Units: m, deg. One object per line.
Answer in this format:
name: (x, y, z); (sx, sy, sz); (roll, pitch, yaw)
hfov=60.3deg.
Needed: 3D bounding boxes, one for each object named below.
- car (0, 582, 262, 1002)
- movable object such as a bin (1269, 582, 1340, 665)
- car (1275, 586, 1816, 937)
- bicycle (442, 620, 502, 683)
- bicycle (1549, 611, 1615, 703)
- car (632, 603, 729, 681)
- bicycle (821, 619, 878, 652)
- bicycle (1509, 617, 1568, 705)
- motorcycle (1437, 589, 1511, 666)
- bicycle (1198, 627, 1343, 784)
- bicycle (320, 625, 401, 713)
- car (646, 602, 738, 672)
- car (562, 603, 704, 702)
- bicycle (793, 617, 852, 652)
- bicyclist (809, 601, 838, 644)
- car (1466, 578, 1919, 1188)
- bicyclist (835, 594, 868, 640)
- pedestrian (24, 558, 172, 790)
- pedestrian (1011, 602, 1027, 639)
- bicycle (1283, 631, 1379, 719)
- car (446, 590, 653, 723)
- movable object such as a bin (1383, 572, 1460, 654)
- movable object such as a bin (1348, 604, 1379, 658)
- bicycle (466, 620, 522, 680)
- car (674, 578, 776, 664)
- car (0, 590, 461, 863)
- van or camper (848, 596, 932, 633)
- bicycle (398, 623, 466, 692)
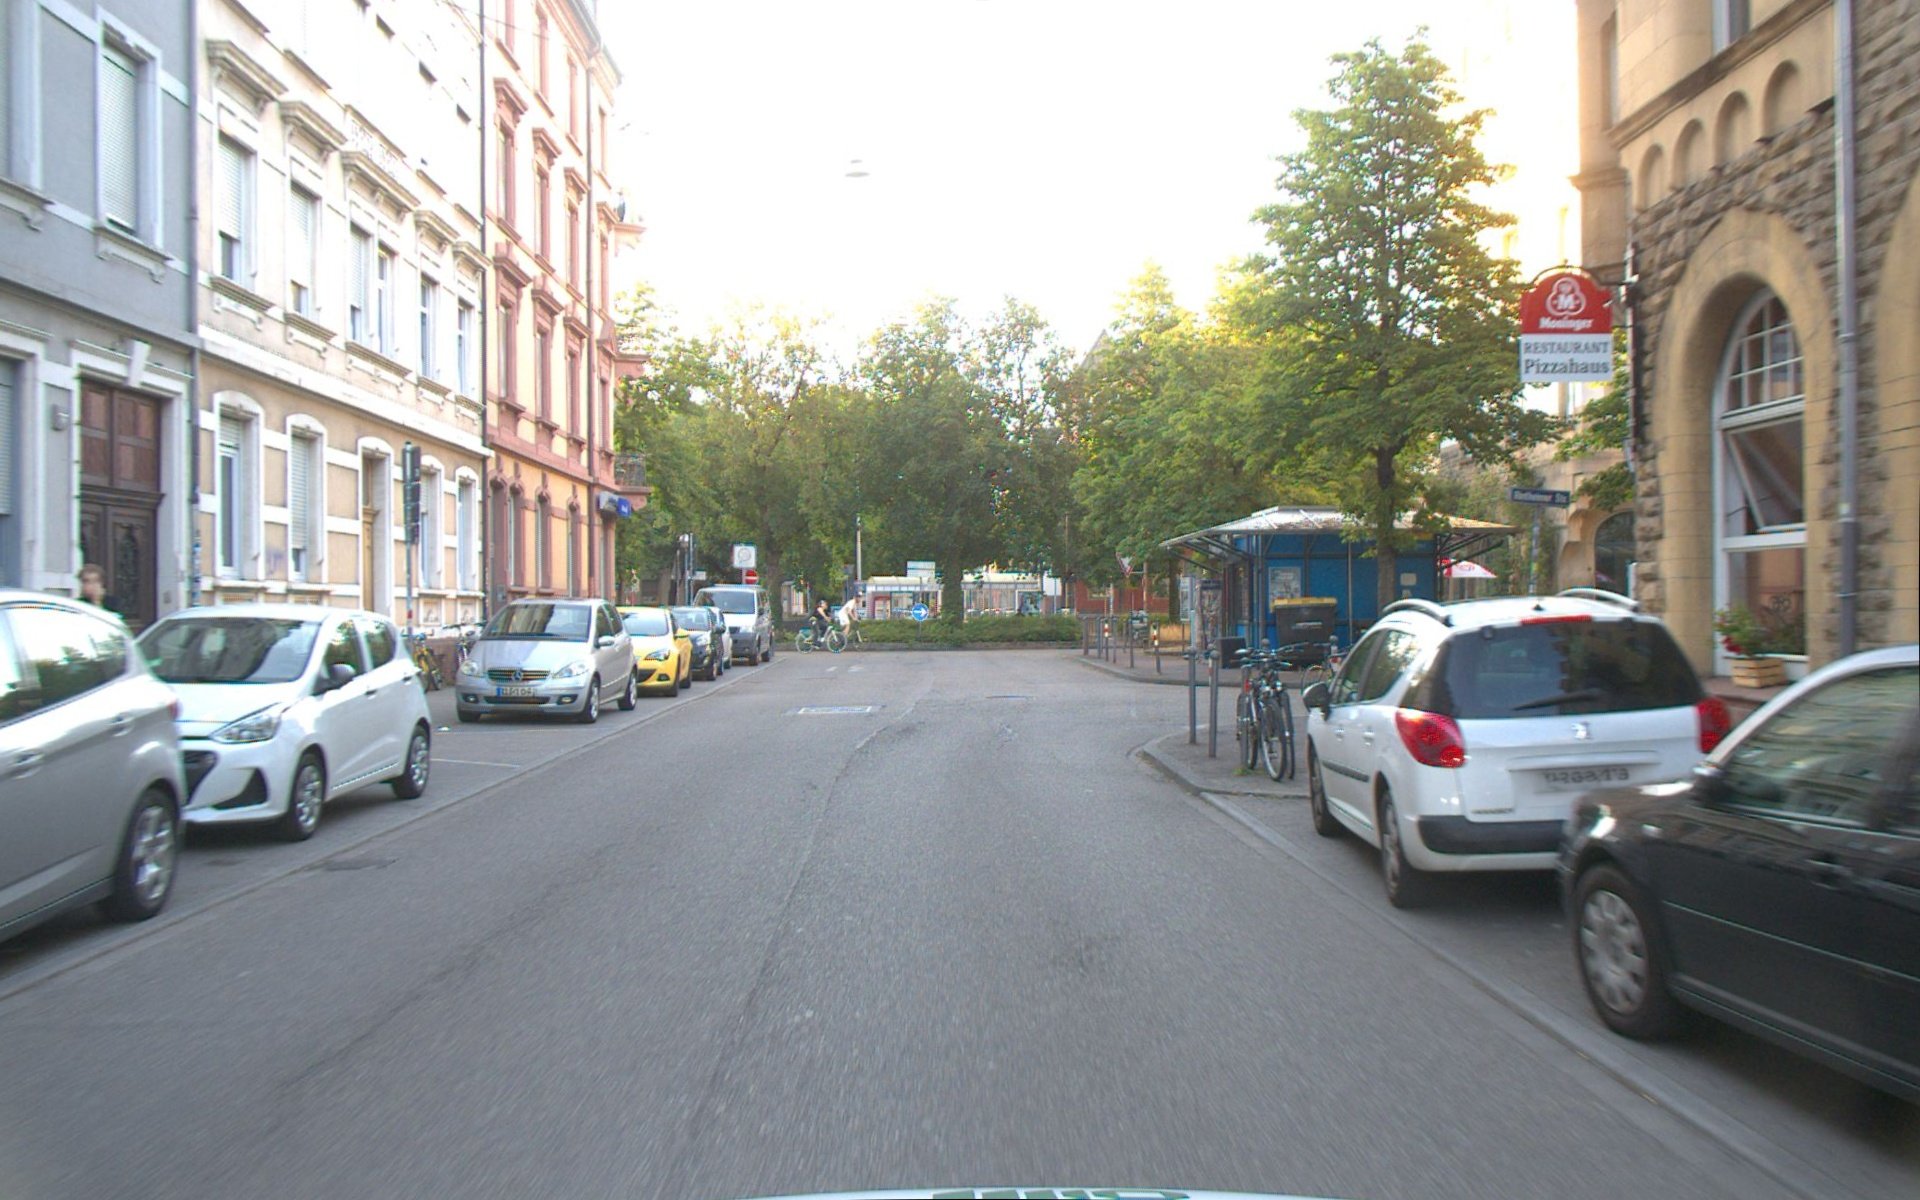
car: (-4.613, 0.722, 6.741); (1.796, 1.620, 4.669); (1, 0, -4)
movable object such as a bin: (6.612, 0.446, 31.825); (1.196, 1.501, 0.766); (-4, -1, 7)
car: (3.108, 0.737, 9.821); (1.727, 1.510, 4.465); (-4, 0, 3)
bicycle: (-8.880, 0.922, 30.174); (0.648, 1.089, 1.833); (-1, 0, -4)
bicycle: (8.071, 0.721, 21.512); (0.491, 1.131, 1.836); (-1, 0, 11)
car: (-5.780, 0.833, 34.569); (1.695, 1.517, 3.738); (1, 0, -5)
bicycle: (-3.736, 1.202, 56.119); (1.789, 1.089, 0.709); (-1, 0, 14)
bicycle: (7.589, 0.784, 21.736); (0.464, 1.089, 1.836); (-1, 0, 11)
motorcycle: (10.191, 0.533, 32.882); (0.849, 1.479, 1.882); (-1, 0, 0)
bicycle: (2.626, 0.856, 14.226); (0.671, 1.171, 2.113); (-4, 0, -3)
bicycle: (-8.485, 0.960, 23.469); (0.470, 1.160, 1.863); (-1, 0, 0)
car: (-6.189, 0.832, 38.493); (1.650, 1.517, 3.612); (1, 0, -2)
car: (-5.646, 0.850, 29.085); (1.802, 1.552, 4.798); (1, 0, -4)
bicycle: (-4.463, 1.123, 53.690); (1.789, 1.089, 0.709); (-1, 0, 14)
bicyclist: (-4.440, 0.730, 53.701); (0.720, 1.382, 0.709); (-1, 0, 14)
car: (3.252, 0.711, 4.883); (1.729, 1.510, 4.552); (-4, 0, -5)
bicyclist: (-3.679, 0.572, 56.113); (0.896, 1.529, 0.709); (-1, 0, 14)
pedestrian: (-7.617, 0.640, 14.648); (0.832, 1.983, 0.834); (-1, 0, 2)
pedestrian: (2.336, 0.797, 65.742); (0.603, 1.456, 0.655); (-1, 0, -1)
bicycle: (4.710, 0.935, 20.940); (1.464, 1.058, 0.425); (0, -1, -43)
car: (-5.491, 0.710, 22.640); (1.763, 1.620, 4.145); (1, 0, 0)
movable object such as a bin: (8.863, 0.243, 31.828); (1.254, 1.501, 0.820); (3, 0, 7)
movable object such as a bin: (7.770, 0.592, 31.860); (0.470, 1.019, 0.487); (-1, 0, -1)
bicycle: (-8.981, 0.952, 31.937); (0.648, 1.089, 1.833); (-1, 0, -4)
car: (-6.083, 0.539, 43.363); (1.999, 2.093, 5.003); (1, 0, -1)
car: (-5.028, 0.766, 11.888); (1.717, 1.603, 3.926); (1, 0, -1)
van or camper: (-6.165, 1.312, 145.416); (7.223, 3.137, 2.670); (1, -1, -6)
bicycle: (-8.885, 0.951, 27.881); (0.648, 1.089, 1.833); (-1, 0, -4)
